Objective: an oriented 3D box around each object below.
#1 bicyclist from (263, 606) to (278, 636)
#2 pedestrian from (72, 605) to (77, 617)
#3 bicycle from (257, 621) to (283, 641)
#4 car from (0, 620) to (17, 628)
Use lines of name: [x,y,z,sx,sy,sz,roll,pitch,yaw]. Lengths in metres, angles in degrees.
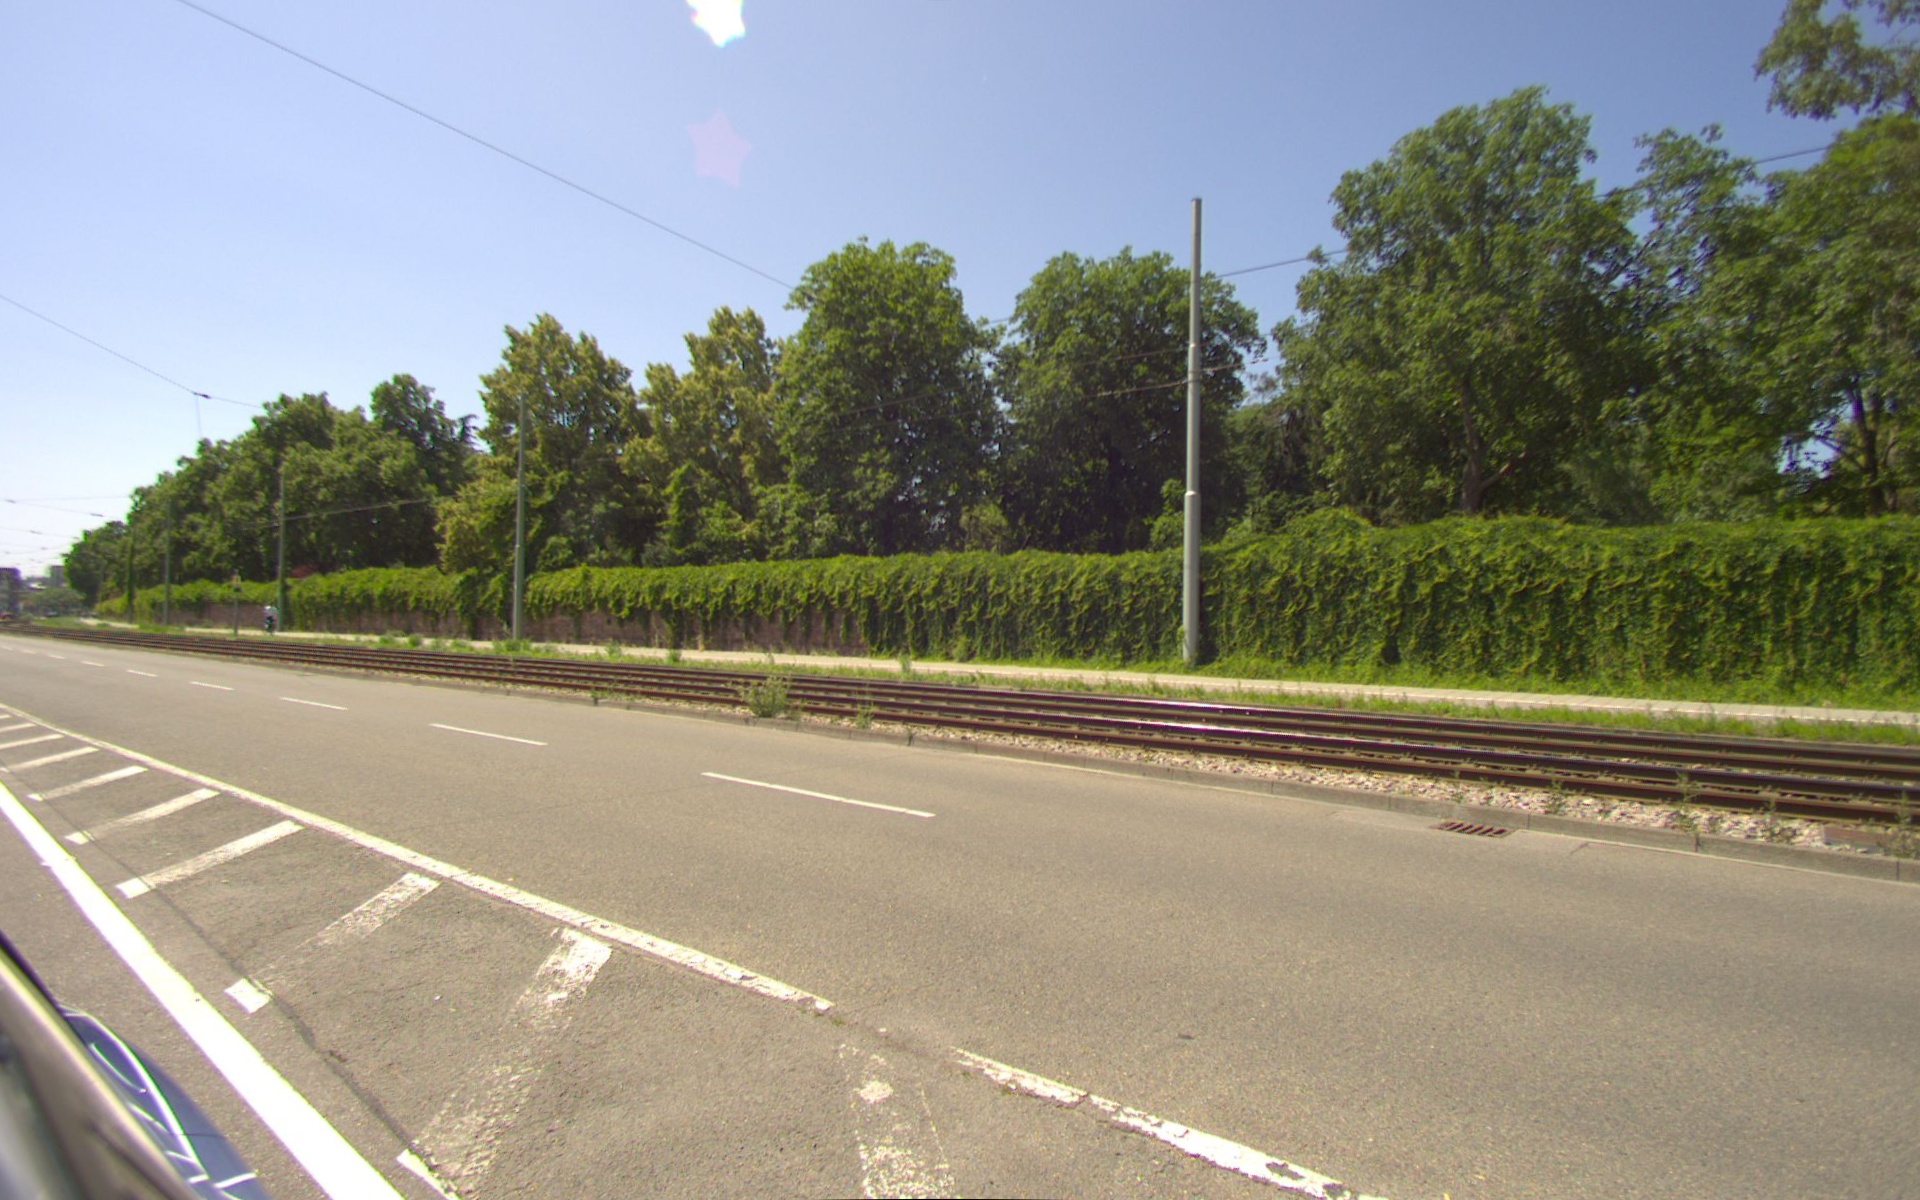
bicyclist: [-37.861,1.122,55.574,0.768,1.624,0.477,0,0,38]
pedestrian: [-123.447,1.555,141.037,0.302,1.677,0.447,-2,-1,41]
bicycle: [-37.956,1.696,55.642,1.976,1.063,0.610,0,0,39]
car: [-173.213,4.325,183.939,1.772,1.508,3.976,-1,0,-28]
